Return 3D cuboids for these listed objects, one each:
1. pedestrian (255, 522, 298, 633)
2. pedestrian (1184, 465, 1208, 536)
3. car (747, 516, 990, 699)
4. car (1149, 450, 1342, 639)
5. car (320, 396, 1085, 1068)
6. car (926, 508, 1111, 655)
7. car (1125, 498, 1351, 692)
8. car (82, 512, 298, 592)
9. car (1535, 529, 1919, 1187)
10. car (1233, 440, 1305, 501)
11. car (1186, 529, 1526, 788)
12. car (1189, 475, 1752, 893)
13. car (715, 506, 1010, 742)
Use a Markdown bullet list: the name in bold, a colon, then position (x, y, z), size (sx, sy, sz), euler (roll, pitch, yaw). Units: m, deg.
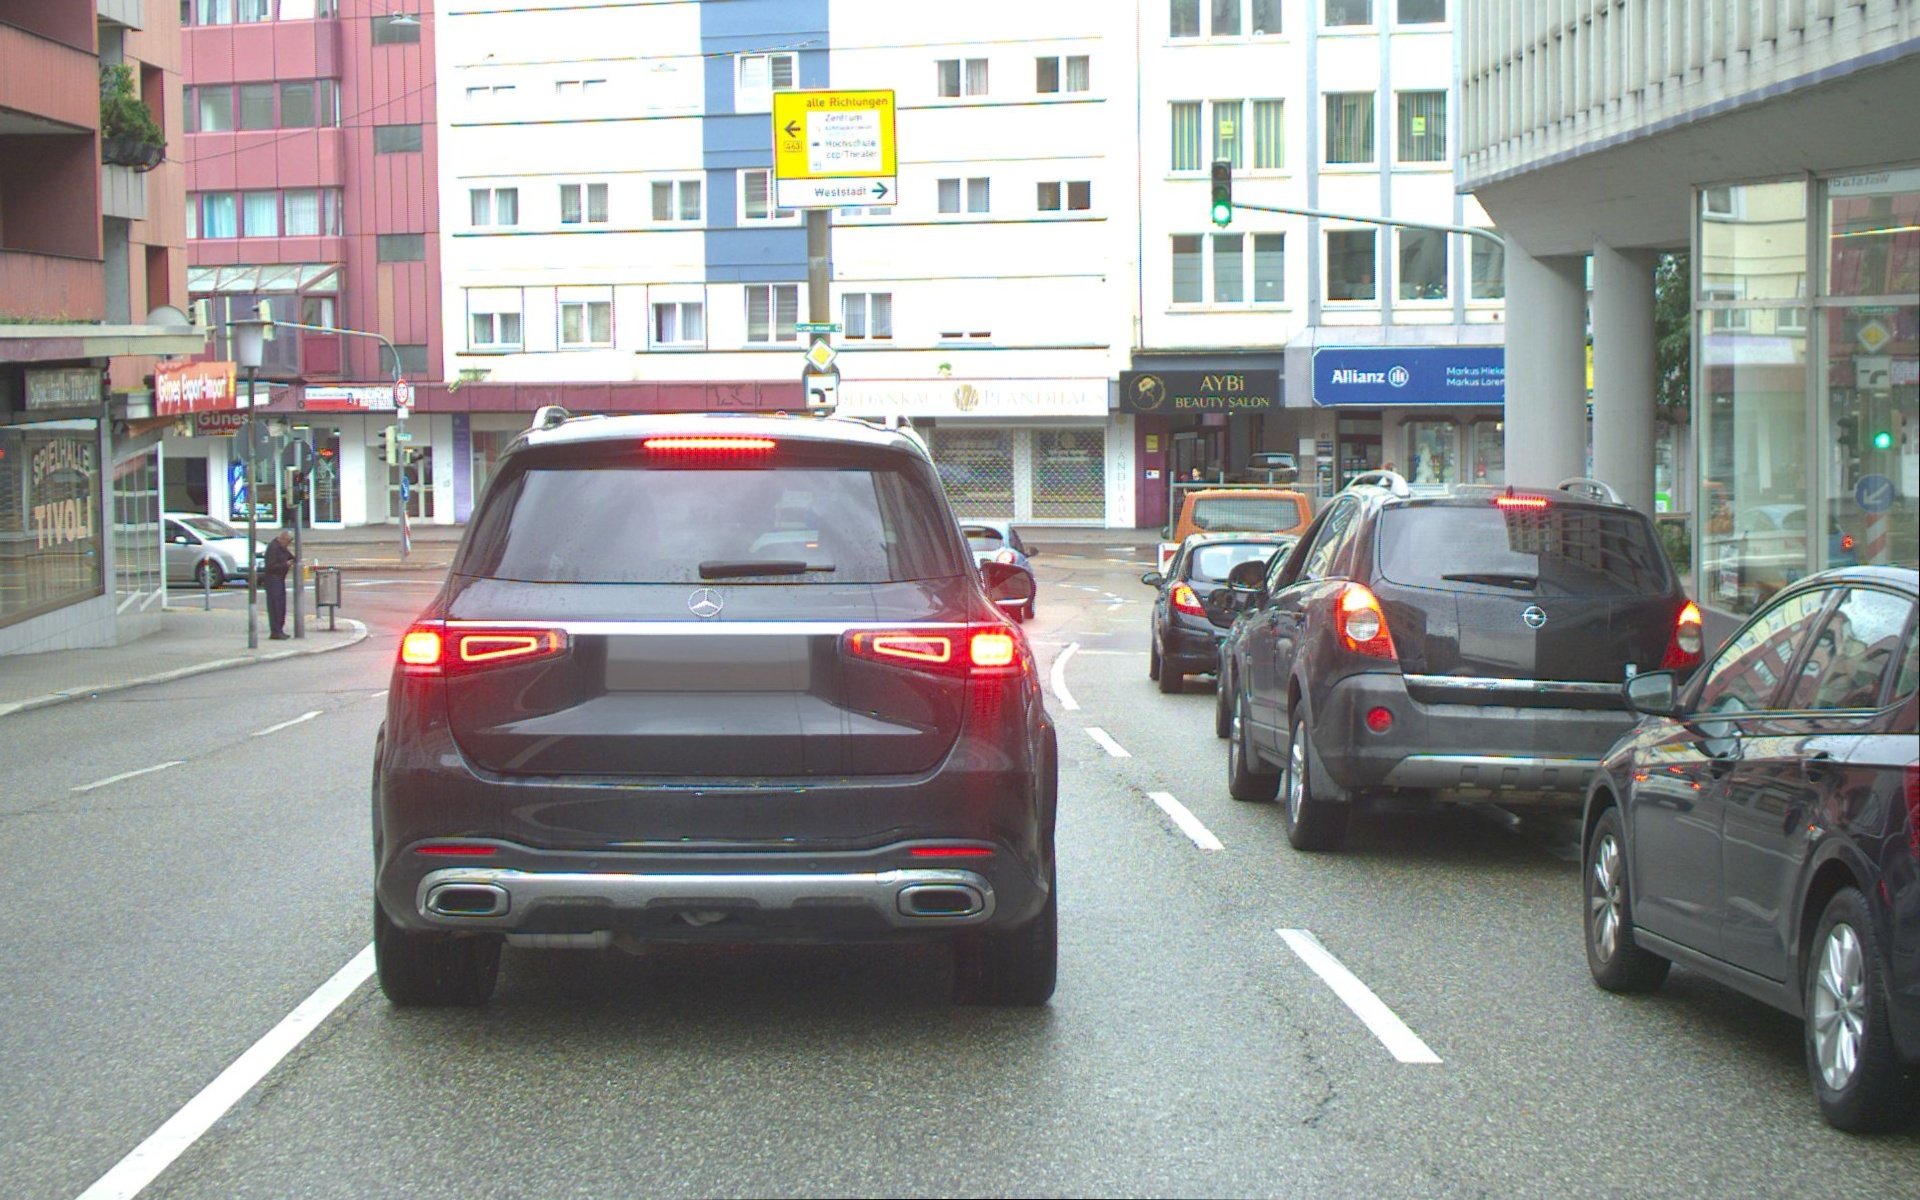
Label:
- **pedestrian**: position (-10.508, -0.354, 52.831), size (0.554, 1.691, 0.624), euler (0, 1, -4)
- **pedestrian**: position (5.851, -2.466, 85.248), size (0.564, 1.683, 0.756), euler (-1, 7, 6)
- **car**: position (-0.776, 0.014, 30.695), size (1.993, 1.481, 4.237), euler (-1, 1, 0)
- **car**: position (3.552, -0.715, 43.571), size (2.243, 2.220, 5.428), euler (1, 1, 3)
- **car**: position (-0.779, 0.298, 11.602), size (2.038, 1.792, 4.663), euler (1, 1, -2)
- **car**: position (0.606, -0.200, 39.129), size (1.924, 1.510, 4.663), euler (2, 0, -1)
- **car**: position (2.540, -0.070, 32.330), size (1.823, 1.653, 4.495), euler (1, 1, 1)
- **car**: position (-16.405, -1.047, 73.290), size (4.165, 1.587, 1.740), euler (2, 2, 15)
- **car**: position (2.928, 0.583, 9.843), size (1.688, 1.472, 4.001), euler (3, 1, -2)
- **car**: position (8.818, -3.660, 97.833), size (1.797, 1.664, 3.999), euler (-1, 2, 8)
- **car**: position (2.533, 0.315, 22.886), size (1.767, 1.392, 4.000), euler (5, 2, 1)
- **car**: position (2.316, 0.300, 16.834), size (1.897, 1.689, 4.506), euler (3, 1, -2)
- **car**: position (-0.708, 0.097, 24.238), size (1.873, 1.489, 4.401), euler (1, 2, -2)
